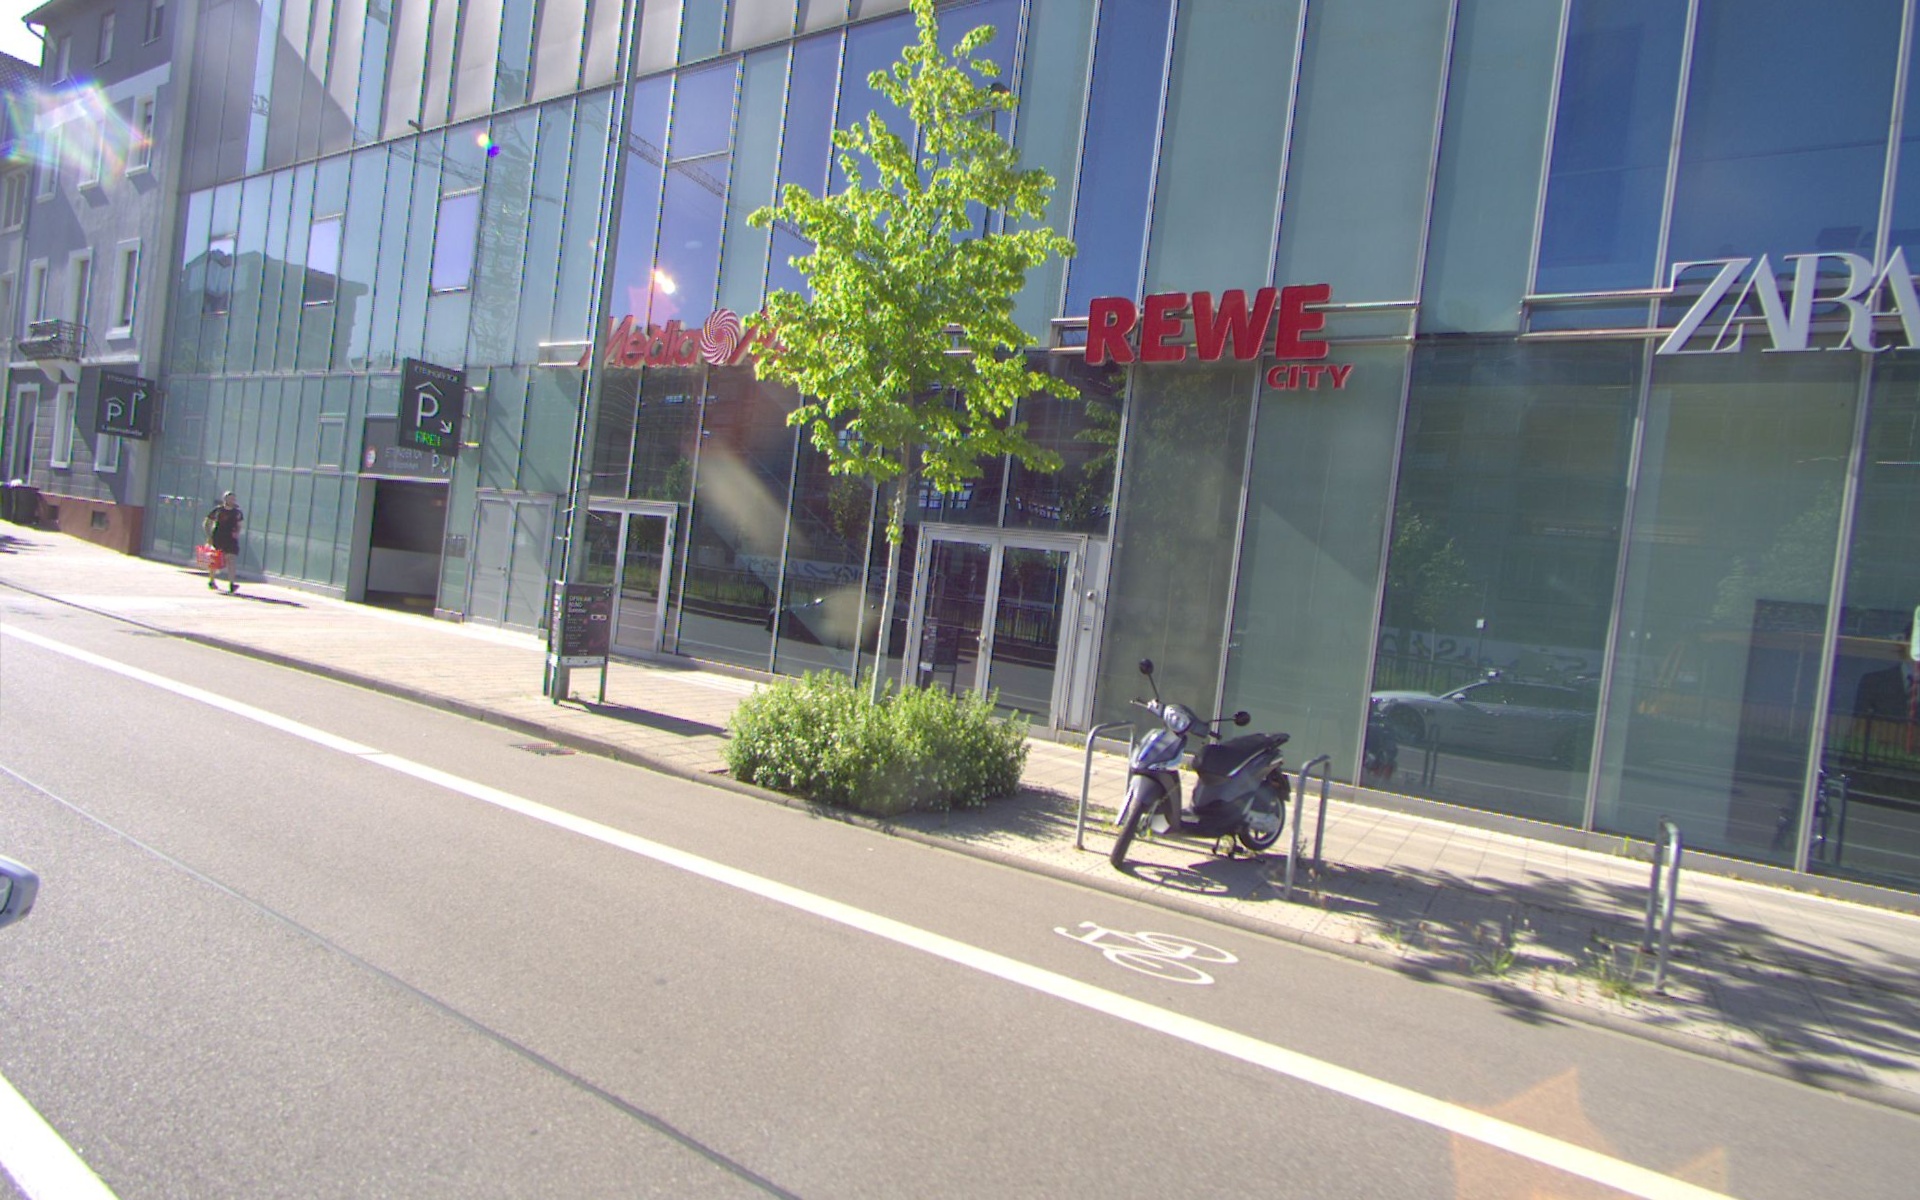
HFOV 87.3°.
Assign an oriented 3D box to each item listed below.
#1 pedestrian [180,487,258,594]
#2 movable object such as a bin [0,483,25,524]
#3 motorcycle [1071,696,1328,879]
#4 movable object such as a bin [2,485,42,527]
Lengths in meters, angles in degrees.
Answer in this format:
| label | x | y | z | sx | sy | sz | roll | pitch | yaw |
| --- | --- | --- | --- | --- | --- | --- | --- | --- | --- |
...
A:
| label | x | y | z | sx | sy | sz | roll | pitch | yaw |
| --- | --- | --- | --- | --- | --- | --- | --- | --- | --- |
| pedestrian | -14.322 | -1.137 | 19.446 | 0.880 | 1.950 | 0.875 | 8 | 4 | 31 |
| movable object such as a bin | -27.642 | -2.811 | 29.136 | 0.692 | 1.121 | 0.589 | 8 | 0 | 33 |
| motorcycle | 1.758 | 1.302 | 7.252 | 1.863 | 1.096 | 0.638 | 5 | 1 | -35 |
| movable object such as a bin | -26.887 | -2.693 | 28.844 | 0.692 | 1.095 | 0.603 | 8 | 0 | 33 |
